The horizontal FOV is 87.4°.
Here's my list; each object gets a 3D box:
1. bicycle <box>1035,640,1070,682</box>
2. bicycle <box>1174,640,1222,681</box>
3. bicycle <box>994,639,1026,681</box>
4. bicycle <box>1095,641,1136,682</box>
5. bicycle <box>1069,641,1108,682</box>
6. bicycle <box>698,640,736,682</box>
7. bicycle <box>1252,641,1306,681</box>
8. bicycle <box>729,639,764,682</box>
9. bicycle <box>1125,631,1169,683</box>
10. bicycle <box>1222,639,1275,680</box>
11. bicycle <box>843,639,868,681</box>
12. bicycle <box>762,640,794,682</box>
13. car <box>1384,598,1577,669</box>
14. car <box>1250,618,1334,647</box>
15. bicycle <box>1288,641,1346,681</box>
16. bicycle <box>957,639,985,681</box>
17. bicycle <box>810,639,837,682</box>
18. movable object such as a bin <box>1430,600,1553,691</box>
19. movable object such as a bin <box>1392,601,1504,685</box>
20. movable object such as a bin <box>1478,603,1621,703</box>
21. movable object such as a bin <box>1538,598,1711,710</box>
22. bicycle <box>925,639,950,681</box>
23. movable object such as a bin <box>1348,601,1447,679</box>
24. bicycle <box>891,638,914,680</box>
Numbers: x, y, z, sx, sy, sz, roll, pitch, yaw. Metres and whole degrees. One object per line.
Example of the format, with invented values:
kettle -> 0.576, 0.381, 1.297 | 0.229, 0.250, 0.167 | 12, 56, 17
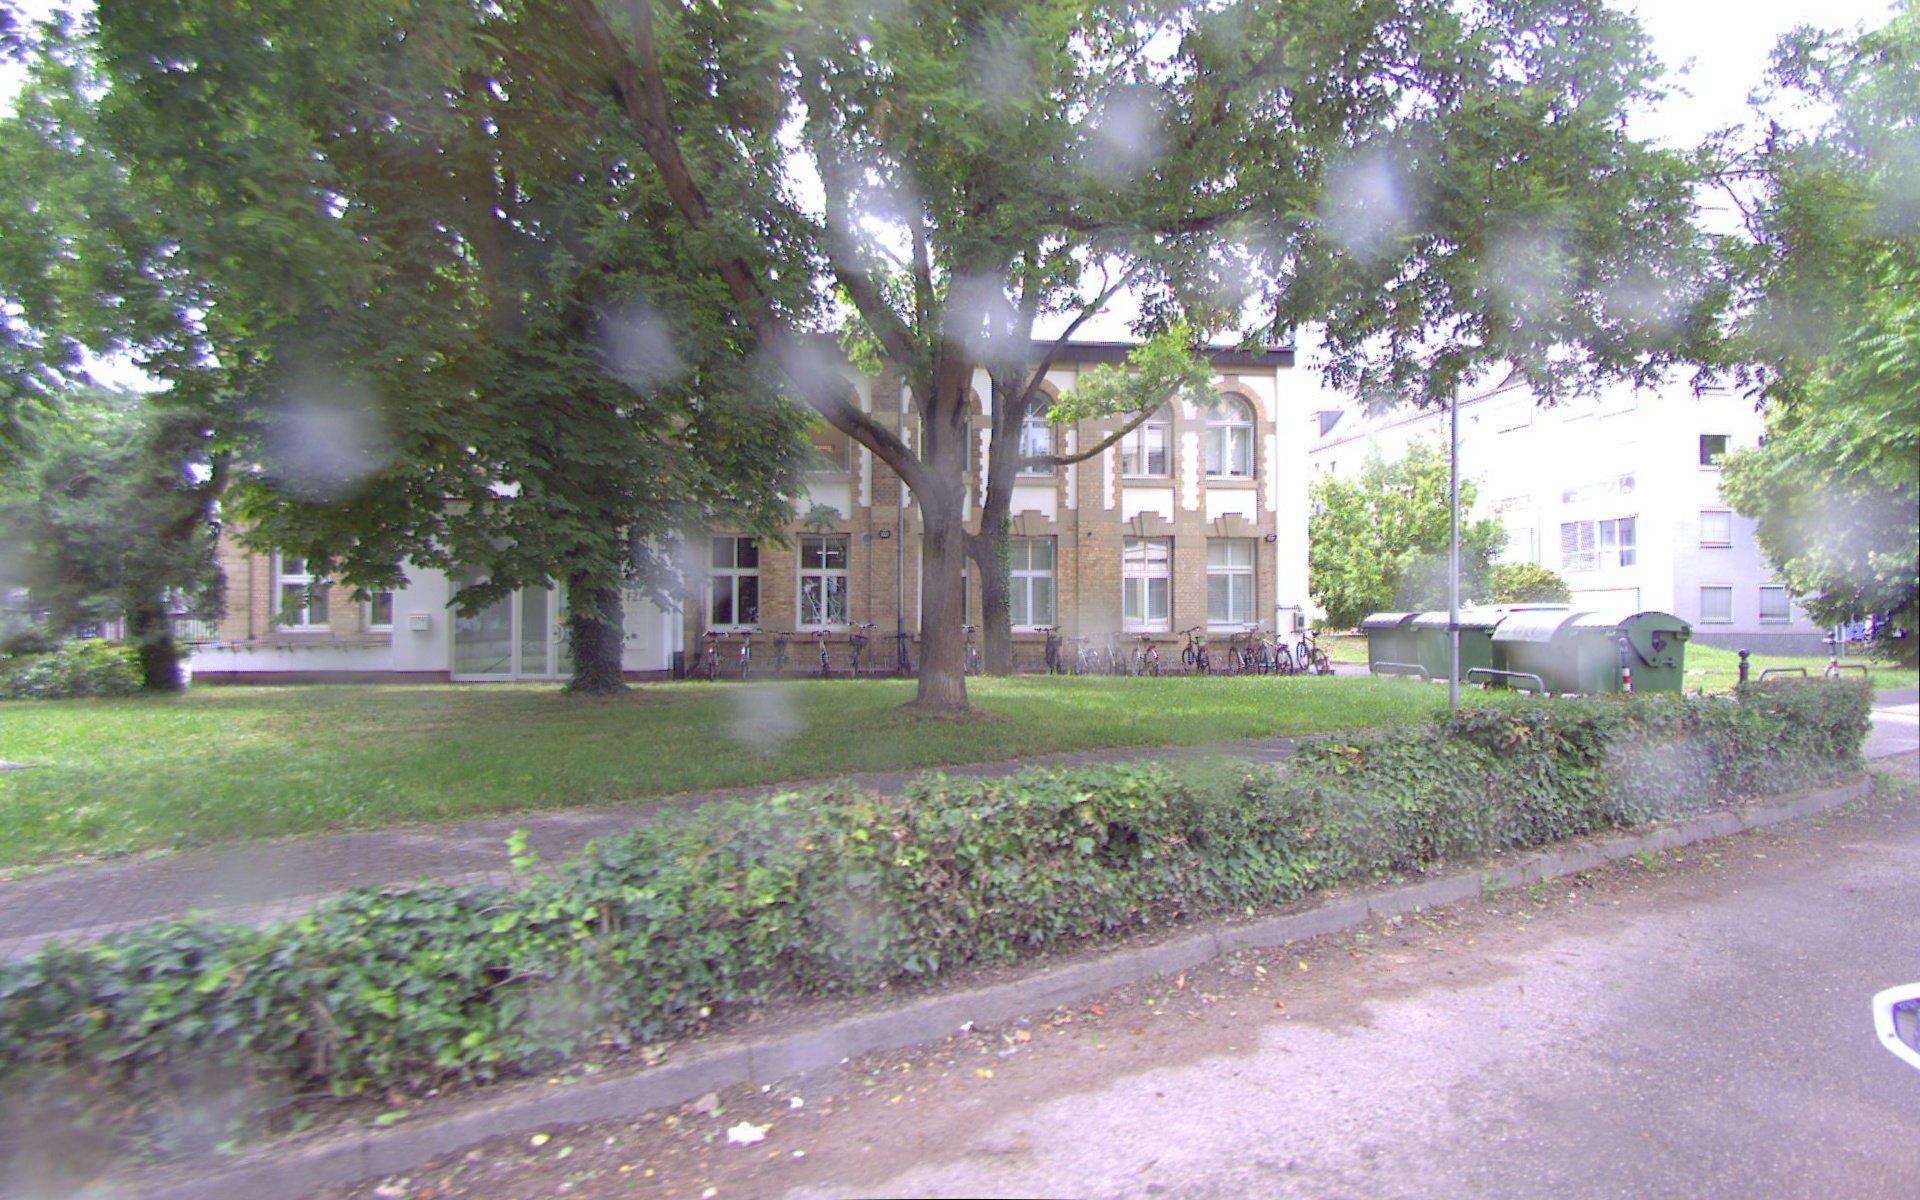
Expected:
bicycle -> 2.051, 1.342, 22.460 | 0.444, 0.810, 2.055 | 1, -1, -4
bicycle -> 5.355, 1.339, 22.677 | 0.444, 0.810, 2.055 | 1, -1, -4
bicycle -> 1.101, 1.316, 22.404 | 0.444, 0.810, 2.055 | 1, -1, -4
bicycle -> 3.477, 1.362, 22.564 | 0.444, 0.810, 2.055 | 1, -1, -4
bicycle -> 2.854, 1.359, 22.490 | 0.444, 0.810, 2.055 | 1, -1, -4
bicycle -> -5.239, 1.295, 21.711 | 0.444, 0.810, 2.055 | 1, -1, -4
bicycle -> 7.265, 1.378, 22.965 | 0.444, 0.810, 2.055 | 1, -1, -4
bicycle -> -4.614, 1.286, 21.757 | 0.444, 0.810, 2.055 | 1, -1, -4
bicycle -> 4.187, 1.262, 22.645 | 0.444, 1.052, 2.055 | 1, -1, -4
bicycle -> 6.514, 1.336, 22.784 | 0.444, 0.810, 2.055 | 1, -1, -4
bicycle -> -2.277, 1.283, 21.987 | 0.444, 0.810, 2.055 | 1, -1, -4
bicycle -> -3.929, 1.300, 21.811 | 0.444, 0.810, 2.055 | 1, -1, -4
car -> 15.676, 1.004, 30.433 | 4.856, 2.040, 2.000 | 1, -1, -2
car -> 17.976, 1.765, 54.462 | 3.925, 1.372, 1.790 | -2, -1, -6
bicycle -> 8.129, 1.369, 22.983 | 0.444, 0.810, 2.055 | 1, -1, -4
bicycle -> 0.233, 1.312, 22.332 | 0.444, 0.810, 2.055 | 1, -1, -4
bicycle -> -2.969, 1.301, 21.919 | 0.444, 0.810, 2.055 | 1, -1, -4
movable object such as a bin -> 9.182, 0.772, 17.425 | 1.338, 1.490, 1.351 | 2, 0, -5
movable object such as a bin -> 9.101, 0.782, 18.803 | 1.338, 1.490, 1.364 | 2, 0, -5
movable object such as a bin -> 9.317, 0.810, 15.962 | 1.338, 1.490, 1.464 | 2, 0, -5
movable object such as a bin -> 9.474, 0.742, 14.416 | 1.387, 1.490, 1.559 | 2, 0, -5
bicycle -> -0.511, 1.312, 22.166 | 0.444, 0.810, 2.055 | 1, -1, -4
movable object such as a bin -> 8.898, 0.796, 20.479 | 1.338, 1.490, 1.364 | 2, 0, -5
bicycle -> -1.282, 1.286, 22.094 | 0.444, 0.810, 2.055 | 1, -1, -4
